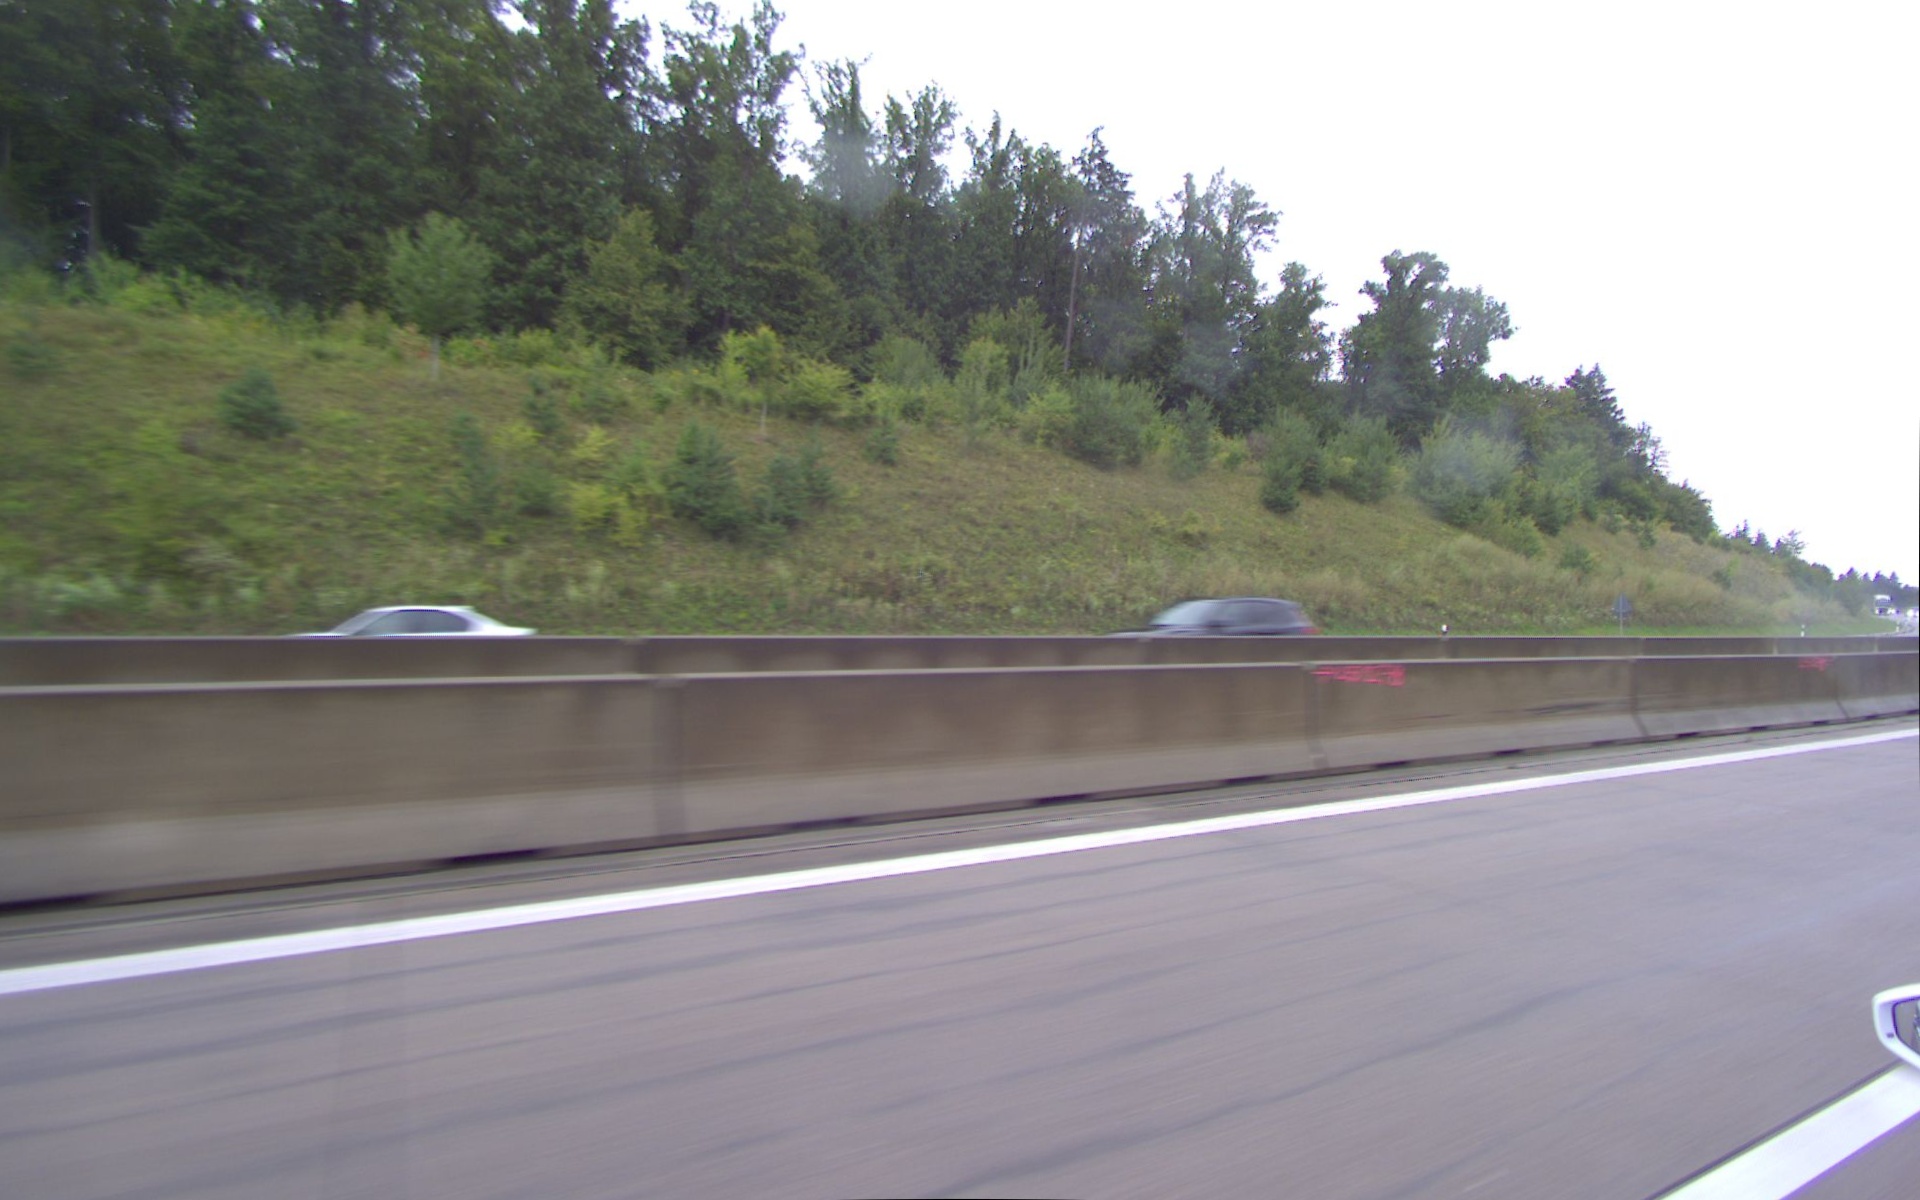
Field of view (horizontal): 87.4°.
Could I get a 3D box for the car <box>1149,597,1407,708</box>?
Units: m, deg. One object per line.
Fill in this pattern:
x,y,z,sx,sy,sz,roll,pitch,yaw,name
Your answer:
5.808,0.902,18.158,4.701,1.800,1.723,1,-1,-30,car

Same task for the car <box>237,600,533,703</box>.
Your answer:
-9.690,0.844,17.240,4.193,1.597,1.723,1,-1,-30,car
